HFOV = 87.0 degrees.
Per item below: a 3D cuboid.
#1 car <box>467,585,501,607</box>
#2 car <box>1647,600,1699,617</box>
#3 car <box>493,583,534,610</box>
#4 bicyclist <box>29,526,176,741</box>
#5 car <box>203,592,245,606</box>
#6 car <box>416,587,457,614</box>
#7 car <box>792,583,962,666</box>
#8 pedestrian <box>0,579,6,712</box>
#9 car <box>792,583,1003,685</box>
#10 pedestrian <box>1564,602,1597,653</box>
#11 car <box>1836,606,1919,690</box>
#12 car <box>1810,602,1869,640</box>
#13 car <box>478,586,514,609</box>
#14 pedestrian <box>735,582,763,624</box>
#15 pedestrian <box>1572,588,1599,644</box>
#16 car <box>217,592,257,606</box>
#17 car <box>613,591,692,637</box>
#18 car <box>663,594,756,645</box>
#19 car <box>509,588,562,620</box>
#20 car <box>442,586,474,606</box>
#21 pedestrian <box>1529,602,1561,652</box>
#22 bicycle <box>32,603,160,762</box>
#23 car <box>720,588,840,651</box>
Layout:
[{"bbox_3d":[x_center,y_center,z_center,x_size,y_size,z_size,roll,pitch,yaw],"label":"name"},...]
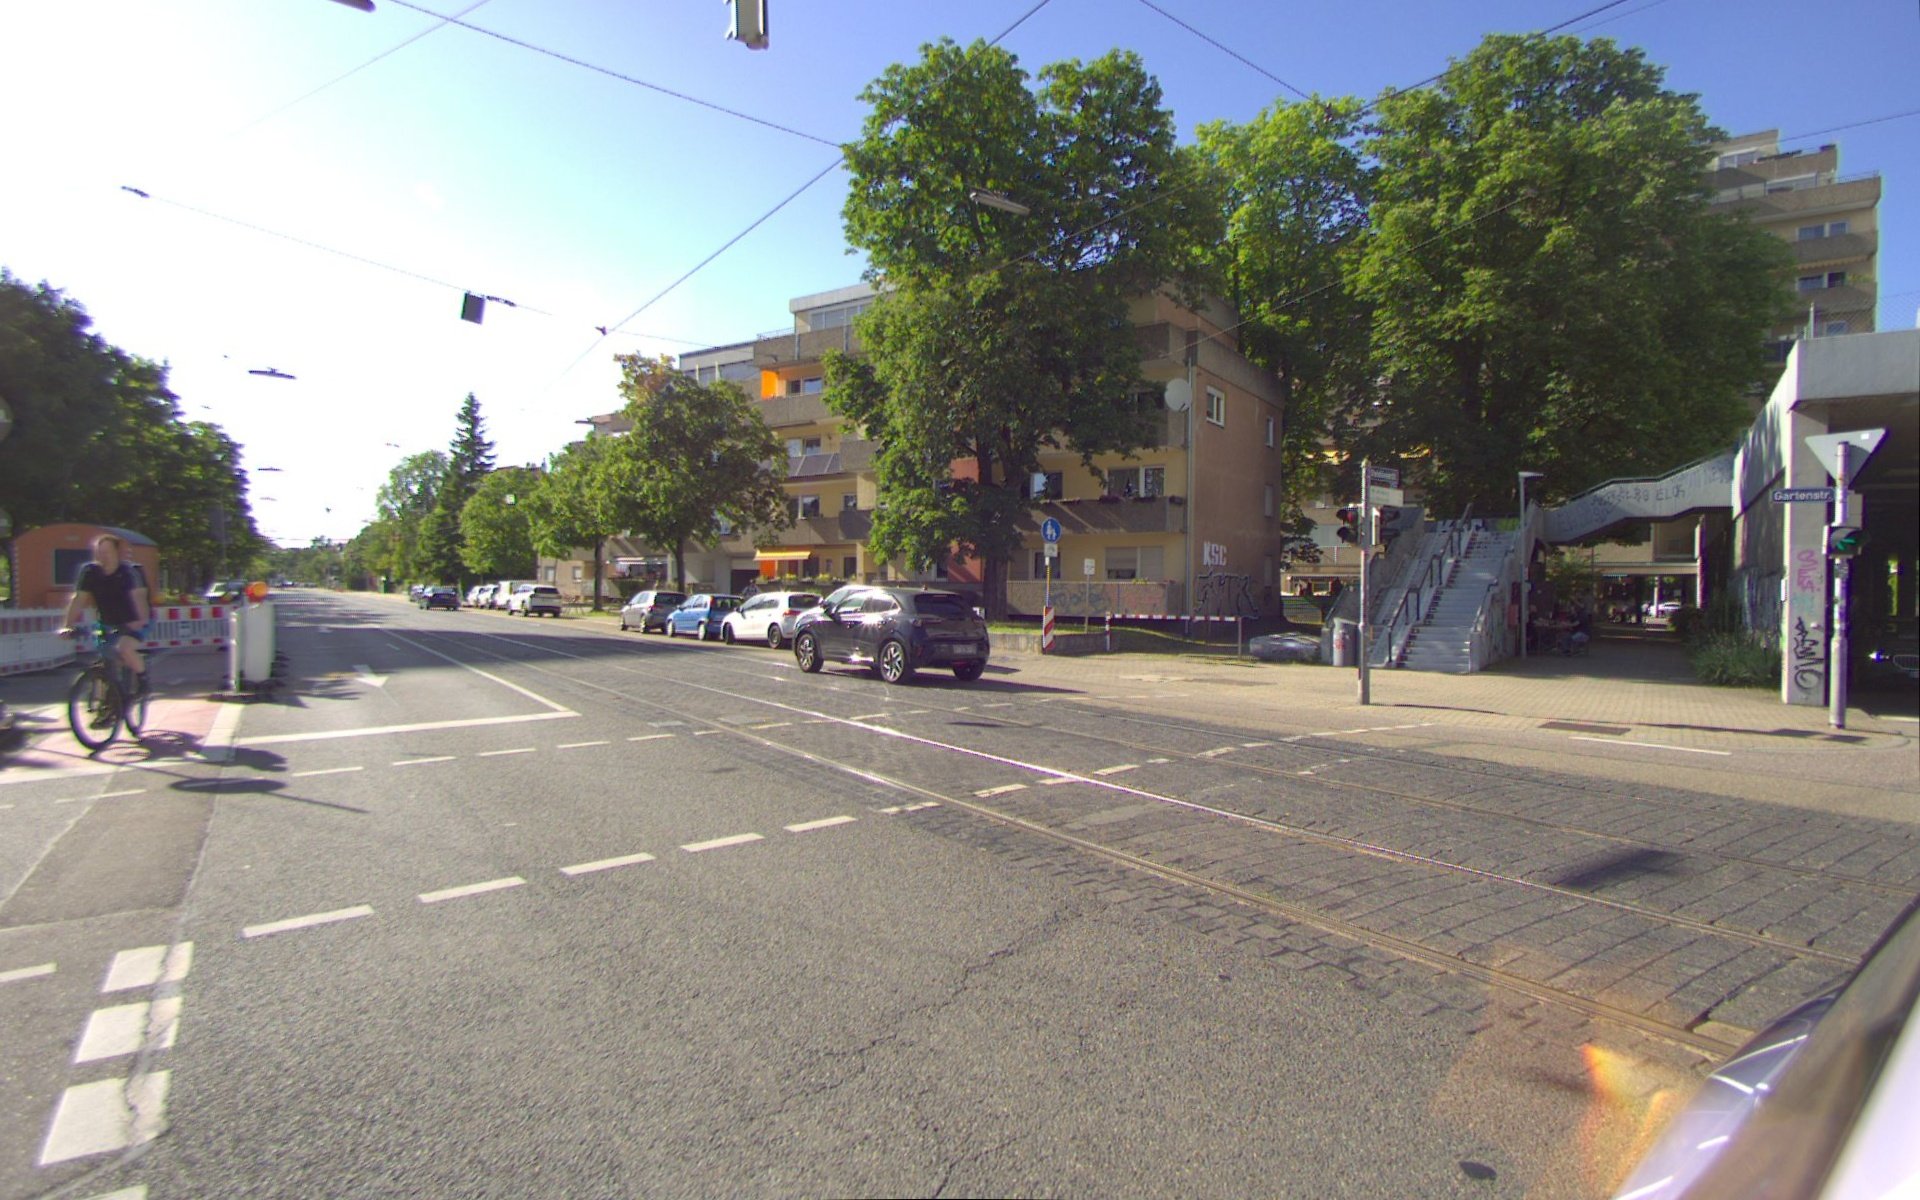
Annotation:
[{"bbox_3d":[-35.310,-0.315,75.057,1.730,1.574,3.695,0,1,-33],"label":"car"},{"bbox_3d":[64.090,0.749,90.996,1.641,1.505,3.574,0,0,-43],"label":"car"},{"bbox_3d":[-29.047,-0.255,65.753,1.775,1.696,3.878,0,1,-33],"label":"car"},{"bbox_3d":[-7.930,0.285,9.423,0.897,1.853,1.096,1,0,-34],"label":"bicyclist"},{"bbox_3d":[-71.955,-0.079,98.977,3.277,1.304,1.303,-1,0,-39],"label":"car"},{"bbox_3d":[-31.421,0.017,60.705,1.775,1.521,3.878,0,1,-33],"label":"car"},{"bbox_3d":[-1.975,0.479,22.843,1.899,1.640,4.322,0,1,-35],"label":"car"},{"bbox_3d":[-11.921,0.557,12.075,0.622,1.621,0.640,0,0,-28],"label":"pedestrian"},{"bbox_3d":[-1.163,0.513,17.306,1.756,1.537,3.750,0,0,-40],"label":"car"},{"bbox_3d":[16.483,0.730,26.902,0.718,1.315,0.583,0,0,29],"label":"pedestrian"},{"bbox_3d":[20.007,0.934,21.189,1.946,1.575,4.977,0,0,34],"label":"car"},{"bbox_3d":[38.976,0.902,44.909,1.608,1.574,3.960,1,0,36],"label":"car"},{"bbox_3d":[-32.304,-0.195,70.484,1.730,1.574,3.694,0,0,-33],"label":"car"},{"bbox_3d":[-8.133,0.114,39.022,0.860,1.572,0.935,1,0,-26],"label":"pedestrian"},{"bbox_3d":[19.126,0.481,30.955,0.652,1.713,0.583,0,0,29],"label":"pedestrian"},{"bbox_3d":[-73.871,-0.095,103.357,3.277,1.336,1.398,-1,0,-39],"label":"car"},{"bbox_3d":[-10.787,0.474,35.418,1.457,1.479,3.366,2,0,-39],"label":"car"},{"bbox_3d":[-7.807,0.578,31.418,1.635,1.424,3.292,2,0,-37],"label":"car"},{"bbox_3d":[-21.993,0.192,52.344,1.776,1.567,3.536,2,0,-35],"label":"car"},{"bbox_3d":[-39.094,-0.322,78.774,1.730,1.474,3.695,0,1,-33],"label":"car"},{"bbox_3d":[15.766,0.726,27.290,0.734,1.315,0.607,0,0,29],"label":"pedestrian"},{"bbox_3d":[-7.909,0.693,9.332,0.642,1.282,1.785,2,0,-33],"label":"bicycle"},{"bbox_3d":[-4.967,0.508,27.671,1.627,1.551,3.502,2,0,-41],"label":"car"}]
